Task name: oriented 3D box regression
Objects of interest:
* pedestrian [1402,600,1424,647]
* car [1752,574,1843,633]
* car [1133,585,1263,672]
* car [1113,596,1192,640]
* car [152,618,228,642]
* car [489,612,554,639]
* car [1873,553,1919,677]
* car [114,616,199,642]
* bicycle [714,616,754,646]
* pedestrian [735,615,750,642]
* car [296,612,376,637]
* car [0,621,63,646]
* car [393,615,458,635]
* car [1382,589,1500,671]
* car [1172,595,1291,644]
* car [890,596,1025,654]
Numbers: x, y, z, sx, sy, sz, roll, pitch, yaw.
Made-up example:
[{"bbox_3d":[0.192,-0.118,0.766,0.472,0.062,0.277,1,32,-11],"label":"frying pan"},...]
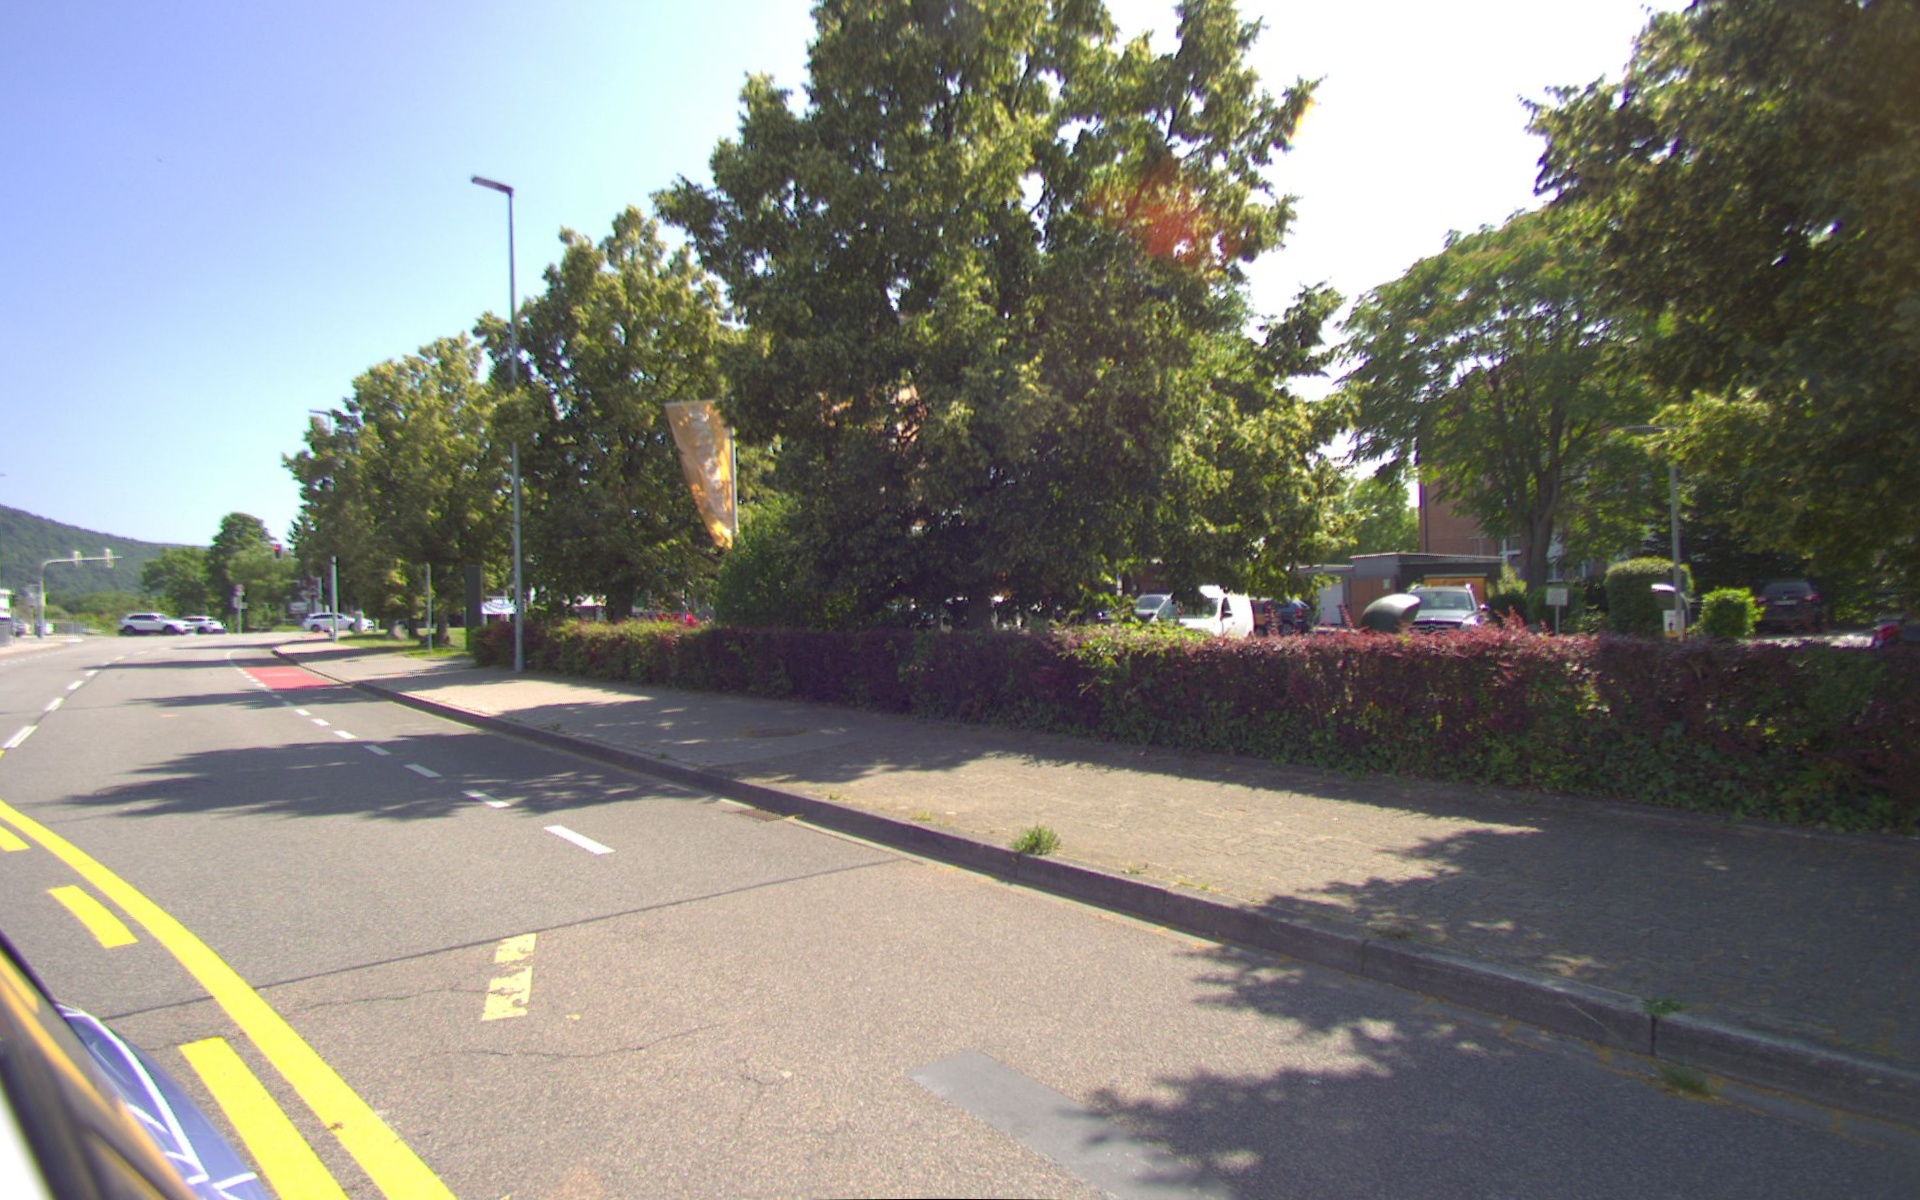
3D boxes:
[{"bbox_3d":[14.566,0.741,32.529,0.494,1.471,0.544,-2,1,39],"label":"pedestrian"},{"bbox_3d":[24.539,0.079,29.758,1.816,1.588,3.822,-2,0,37],"label":"car"},{"bbox_3d":[5.708,0.623,23.911,1.742,1.841,4.308,-3,-1,30],"label":"car"},{"bbox_3d":[7.569,0.682,39.612,1.618,1.543,3.568,-2,0,37],"label":"car"},{"bbox_3d":[-59.792,2.314,78.669,4.299,1.638,1.836,-1,3,-11],"label":"car"},{"bbox_3d":[-33.755,1.938,77.982,4.300,1.863,1.836,-1,3,-9],"label":"car"},{"bbox_3d":[14.228,0.153,11.832,2.042,1.572,5.038,-1,0,-40],"label":"car"},{"bbox_3d":[-58.937,2.085,74.296,4.508,1.664,1.835,-1,3,-8],"label":"car"},{"bbox_3d":[-9.621,1.318,43.089,1.587,1.195,0.310,-3,2,-8],"label":"bicycle"},{"bbox_3d":[-10.385,1.359,48.354,0.544,1.218,0.593,-6,3,-5],"label":"pedestrian"},{"bbox_3d":[-46.443,1.827,75.429,4.692,1.664,1.835,-1,3,-8],"label":"car"},{"bbox_3d":[-70.861,2.543,76.392,4.299,1.638,1.836,-1,3,-11],"label":"car"},{"bbox_3d":[-43.336,2.024,82.068,4.299,1.356,1.836,-1,3,-11],"label":"car"},{"bbox_3d":[10.753,0.610,22.499,1.900,1.595,3.769,-2,0,33],"label":"car"},{"bbox_3d":[9.677,0.710,36.148,3.718,1.644,1.648,-2,0,37],"label":"car"},{"bbox_3d":[-0.088,0.858,34.204,4.208,1.812,1.743,-2,0,28],"label":"car"}]
